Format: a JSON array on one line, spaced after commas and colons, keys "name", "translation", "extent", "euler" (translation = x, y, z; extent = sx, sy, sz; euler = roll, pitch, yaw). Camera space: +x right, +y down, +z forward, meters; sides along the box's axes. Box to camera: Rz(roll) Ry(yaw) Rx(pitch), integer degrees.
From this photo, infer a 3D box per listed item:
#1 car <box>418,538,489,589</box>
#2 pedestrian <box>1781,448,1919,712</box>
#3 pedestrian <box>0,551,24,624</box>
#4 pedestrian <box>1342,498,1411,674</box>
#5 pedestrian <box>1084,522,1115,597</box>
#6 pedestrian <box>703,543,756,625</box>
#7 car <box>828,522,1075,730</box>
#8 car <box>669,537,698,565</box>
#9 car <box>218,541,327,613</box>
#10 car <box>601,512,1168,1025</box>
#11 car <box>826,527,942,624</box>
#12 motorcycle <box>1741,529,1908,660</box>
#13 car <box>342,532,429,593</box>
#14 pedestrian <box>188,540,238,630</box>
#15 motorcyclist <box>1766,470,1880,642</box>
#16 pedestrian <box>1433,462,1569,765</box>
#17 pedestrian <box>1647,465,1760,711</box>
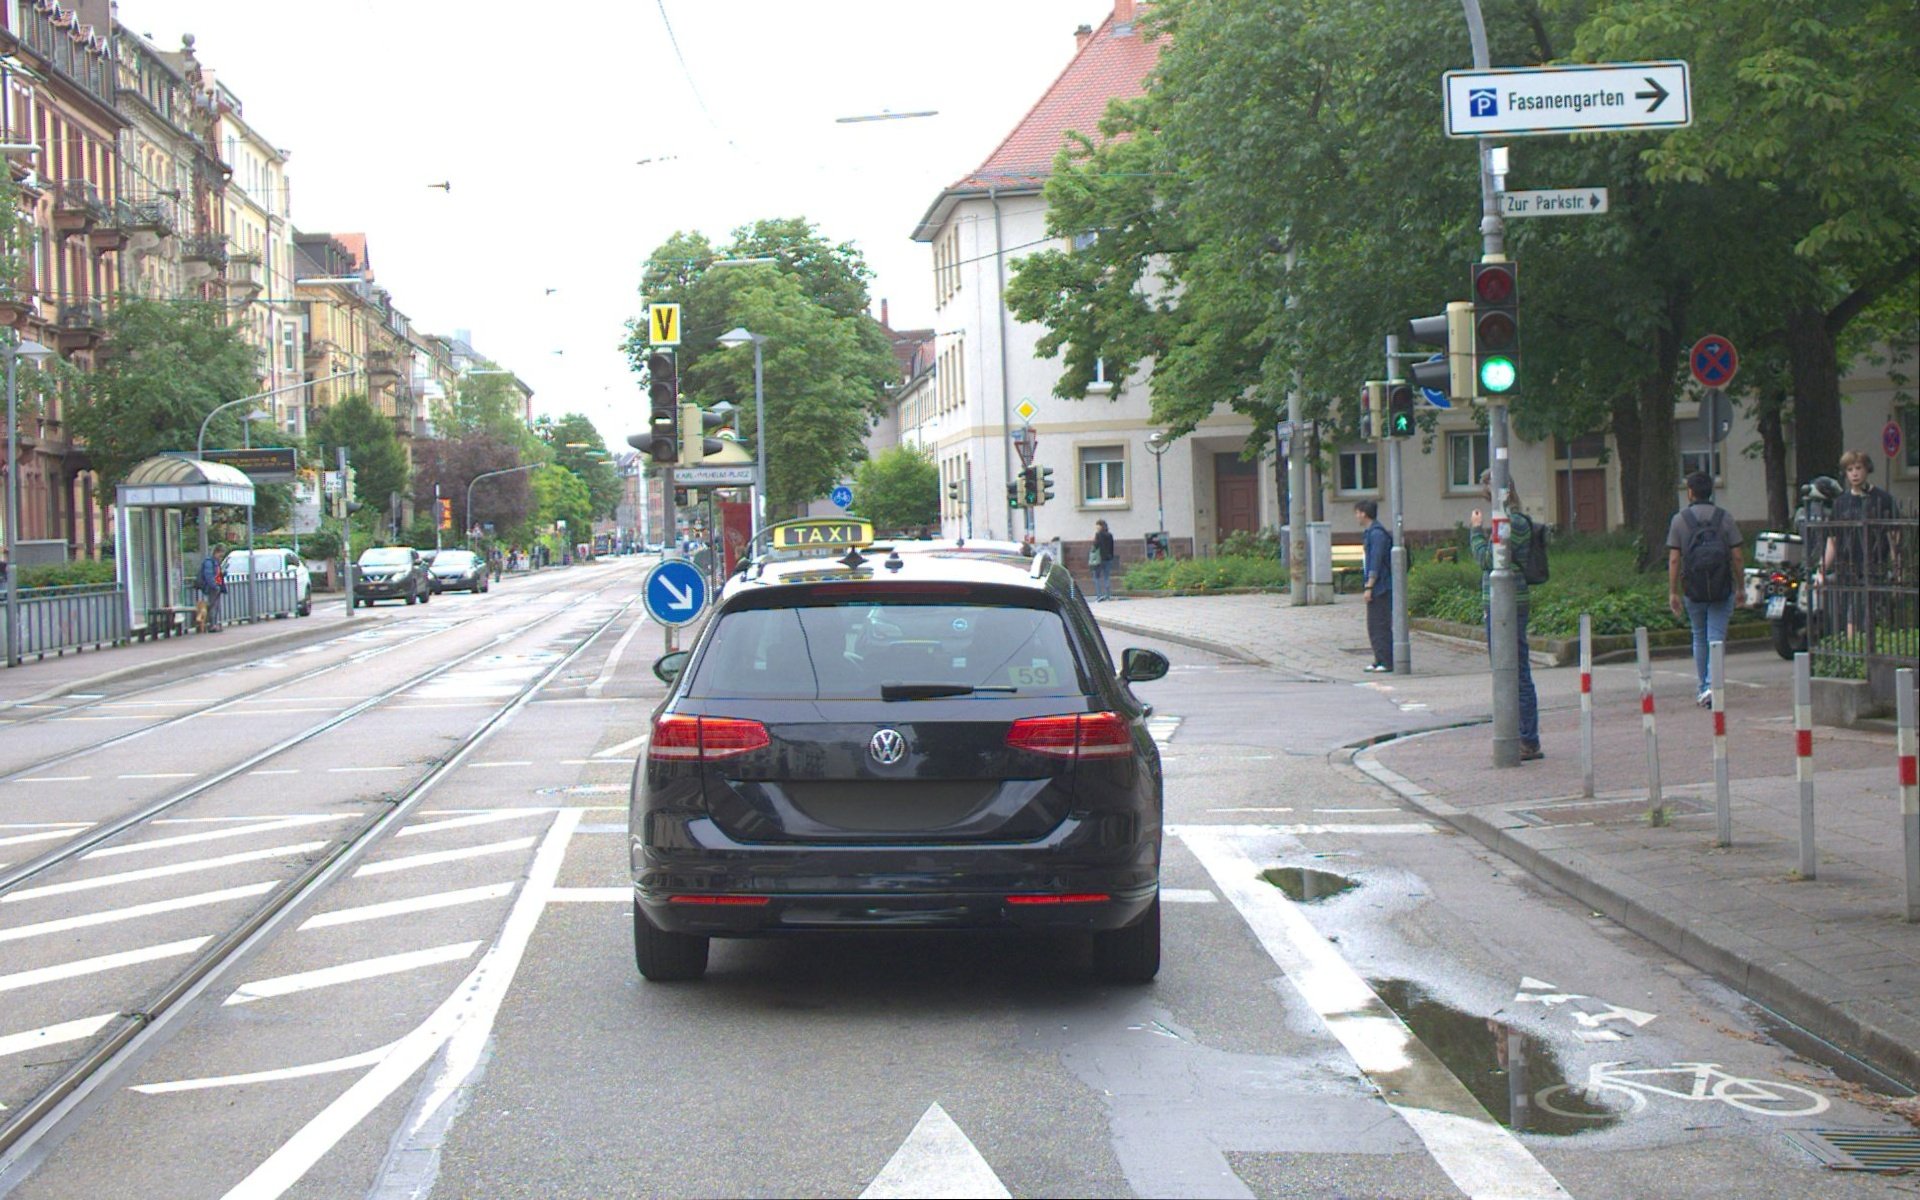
[{"name": "car", "translation": [-16.762, -1.222, 113.888], "extent": [1.795, 1.590, 4.000], "euler": [-2, 1, -1]}, {"name": "pedestrian", "translation": [6.342, -0.144, 24.256], "extent": [0.651, 1.824, 0.800], "euler": [-3, 1, -45]}, {"name": "pedestrian", "translation": [-20.352, -0.262, 73.010], "extent": [0.589, 1.515, 0.648], "euler": [-1, 1, 32]}, {"name": "pedestrian", "translation": [4.423, -0.148, 36.527], "extent": [0.514, 1.824, 0.418], "euler": [-5, 1, -3]}, {"name": "pedestrian", "translation": [2.933, -0.852, 72.474], "extent": [0.581, 1.548, 0.609], "euler": [-1, 1, -1]}, {"name": "pedestrian", "translation": [-3.751, -0.262, 55.947], "extent": [0.822, 1.300, 0.569], "euler": [-2, 1, -4]}, {"name": "car", "translation": [-0.139, 0.160, 28.112], "extent": [1.723, 1.541, 4.001], "euler": [-1, 1, -4]}, {"name": "car", "translation": [-20.251, -3.555, 251.659], "extent": [2.032, 2.007, 4.001], "euler": [-1, 0, -4]}, {"name": "car", "translation": [-16.074, -0.560, 80.557], "extent": [1.795, 1.590, 4.000], "euler": [-2, 1, -1]}, {"name": "car", "translation": [-0.364, 0.481, 12.636], "extent": [1.723, 1.541, 4.001], "euler": [-1, 1, -4]}, {"name": "car", "translation": [-1.305, -0.435, 57.529], "extent": [1.723, 1.541, 4.001], "euler": [-1, 1, -4]}, {"name": "motorcycle", "translation": [8.670, -0.063, 34.452], "extent": [1.901, 1.231, 0.448], "euler": [-3, 1, -35]}, {"name": "car", "translation": [-15.896, -1.045, 95.283], "extent": [1.795, 1.590, 4.000], "euler": [-2, 1, -1]}, {"name": "pedestrian", "translation": [-12.918, -0.262, 59.466], "extent": [0.714, 1.515, 0.590], "euler": [-2, 1, -2]}, {"name": "motorcyclist", "translation": [8.636, -0.439, 34.415], "extent": [0.802, 1.686, 0.705], "euler": [-3, 1, -35]}, {"name": "pedestrian", "translation": [3.382, 0.079, 21.513], "extent": [0.585, 1.824, 0.604], "euler": [-5, 1, -3]}, {"name": "pedestrian", "translation": [5.610, -0.098, 25.958], "extent": [0.632, 1.808, 0.726], "euler": [-2, 1, -1]}]
